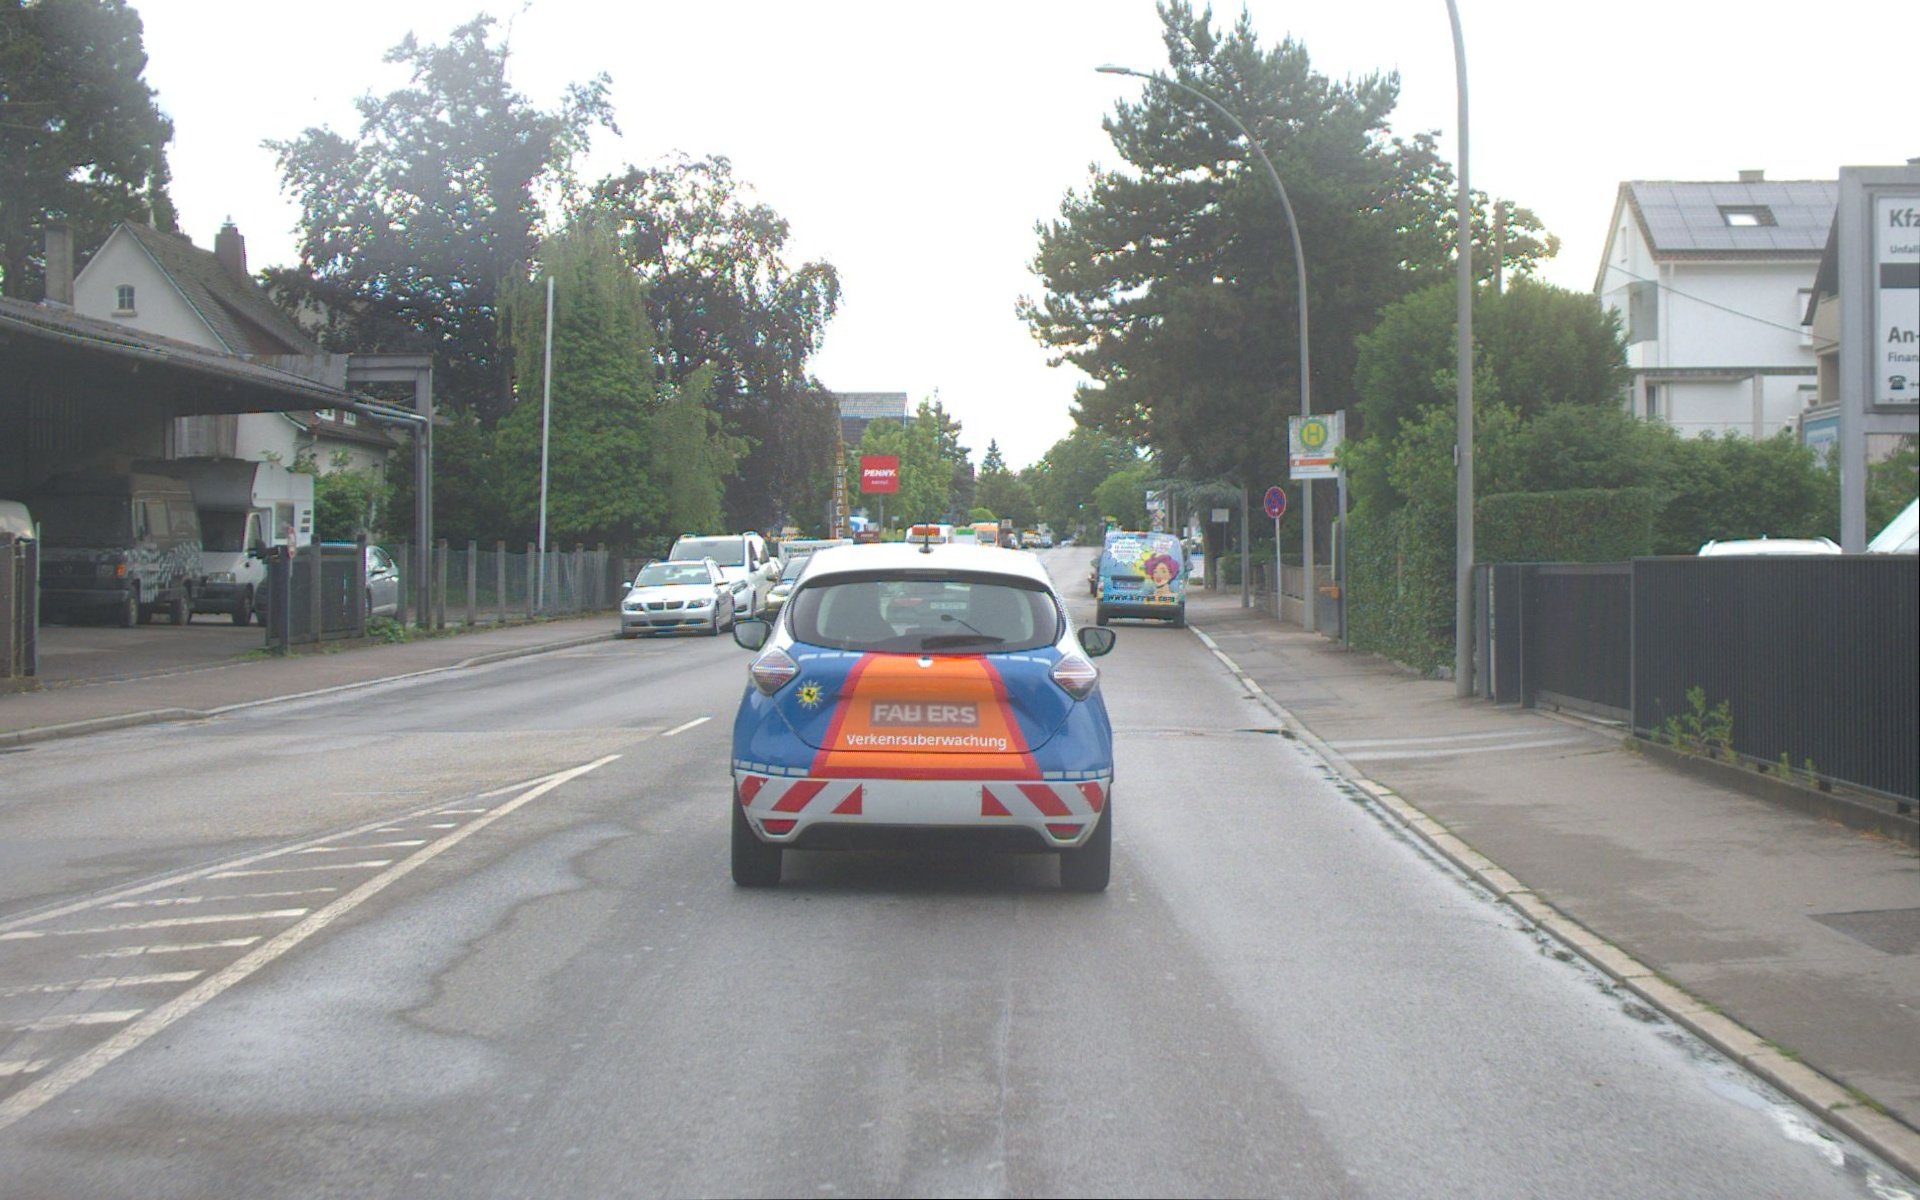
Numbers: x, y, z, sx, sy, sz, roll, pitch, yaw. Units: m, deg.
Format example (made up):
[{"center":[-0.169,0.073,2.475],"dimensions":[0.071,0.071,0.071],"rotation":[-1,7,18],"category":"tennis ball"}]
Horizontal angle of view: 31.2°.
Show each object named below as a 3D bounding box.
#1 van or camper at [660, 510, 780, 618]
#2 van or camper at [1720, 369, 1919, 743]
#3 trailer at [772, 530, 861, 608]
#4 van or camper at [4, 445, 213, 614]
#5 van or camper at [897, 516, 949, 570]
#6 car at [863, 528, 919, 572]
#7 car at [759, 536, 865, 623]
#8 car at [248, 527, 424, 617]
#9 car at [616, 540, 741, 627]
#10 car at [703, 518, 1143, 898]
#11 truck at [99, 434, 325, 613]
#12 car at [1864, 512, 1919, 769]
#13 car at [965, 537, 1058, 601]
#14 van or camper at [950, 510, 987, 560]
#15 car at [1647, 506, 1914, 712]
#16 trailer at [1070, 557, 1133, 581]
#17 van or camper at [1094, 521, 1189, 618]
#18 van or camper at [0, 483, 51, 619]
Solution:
[{"center":[-4.876,-0.702,70.491],"dimensions":[1.890,2.007,5.096],"rotation":[2,-1,2],"category":"van or camper"},{"center":[8.470,-0.218,23.875],"dimensions":[5.905,2.477,2.131],"rotation":[1,-1,2],"category":"van or camper"},{"center":[-4.047,-0.862,97.483],"dimensions":[2.220,2.007,4.436],"rotation":[2,-1,0],"category":"trailer"},{"center":[-13.574,-1.068,55.133],"dimensions":[1.859,2.429,5.233],"rotation":[3,-1,1],"category":"van or camper"},{"center":[-1.610,-2.534,152.133],"dimensions":[2.161,2.345,4.333],"rotation":[0,1,1],"category":"van or camper"},{"center":[-2.559,-1.873,128.440],"dimensions":[1.993,1.590,4.000],"rotation":[0,1,1],"category":"car"},{"center":[-2.724,-0.354,64.264],"dimensions":[1.742,1.446,4.543],"rotation":[2,-1,0],"category":"car"},{"center":[-10.635,-0.459,58.913],"dimensions":[1.936,1.439,4.782],"rotation":[1,0,2],"category":"car"},{"center":[-5.189,-0.276,63.851],"dimensions":[1.742,1.475,4.183],"rotation":[-1,-1,3],"category":"car"},{"center":[-0.123,0.425,16.750],"dimensions":[1.888,1.626,4.000],"rotation":[0,1,1],"category":"car"},{"center":[-13.144,-1.283,60.842],"dimensions":[2.394,2.917,5.956],"rotation":[2,0,2],"category":"truck"},{"center":[6.597,0.261,20.188],"dimensions":[1.662,1.561,4.565],"rotation":[2,-1,5],"category":"car"},{"center":[1.259,-0.753,82.446],"dimensions":[1.994,1.415,4.000],"rotation":[-1,2,4],"category":"car"},{"center":[0.507,-3.643,192.385],"dimensions":[1.993,2.765,5.441],"rotation":[0,1,1],"category":"van or camper"},{"center":[7.464,0.134,31.387],"dimensions":[2.122,1.645,5.232],"rotation":[2,-1,13],"category":"car"},{"center":[4.542,-0.998,110.692],"dimensions":[1.938,0.751,2.859],"rotation":[0,1,1],"category":"trailer"},{"center":[3.599,-0.626,68.701],"dimensions":[1.754,1.876,4.000],"rotation":[0,1,1],"category":"van or camper"},{"center":[-14.386,-0.724,48.273],"dimensions":[1.993,1.902,4.472],"rotation":[2,1,0],"category":"van or camper"}]
